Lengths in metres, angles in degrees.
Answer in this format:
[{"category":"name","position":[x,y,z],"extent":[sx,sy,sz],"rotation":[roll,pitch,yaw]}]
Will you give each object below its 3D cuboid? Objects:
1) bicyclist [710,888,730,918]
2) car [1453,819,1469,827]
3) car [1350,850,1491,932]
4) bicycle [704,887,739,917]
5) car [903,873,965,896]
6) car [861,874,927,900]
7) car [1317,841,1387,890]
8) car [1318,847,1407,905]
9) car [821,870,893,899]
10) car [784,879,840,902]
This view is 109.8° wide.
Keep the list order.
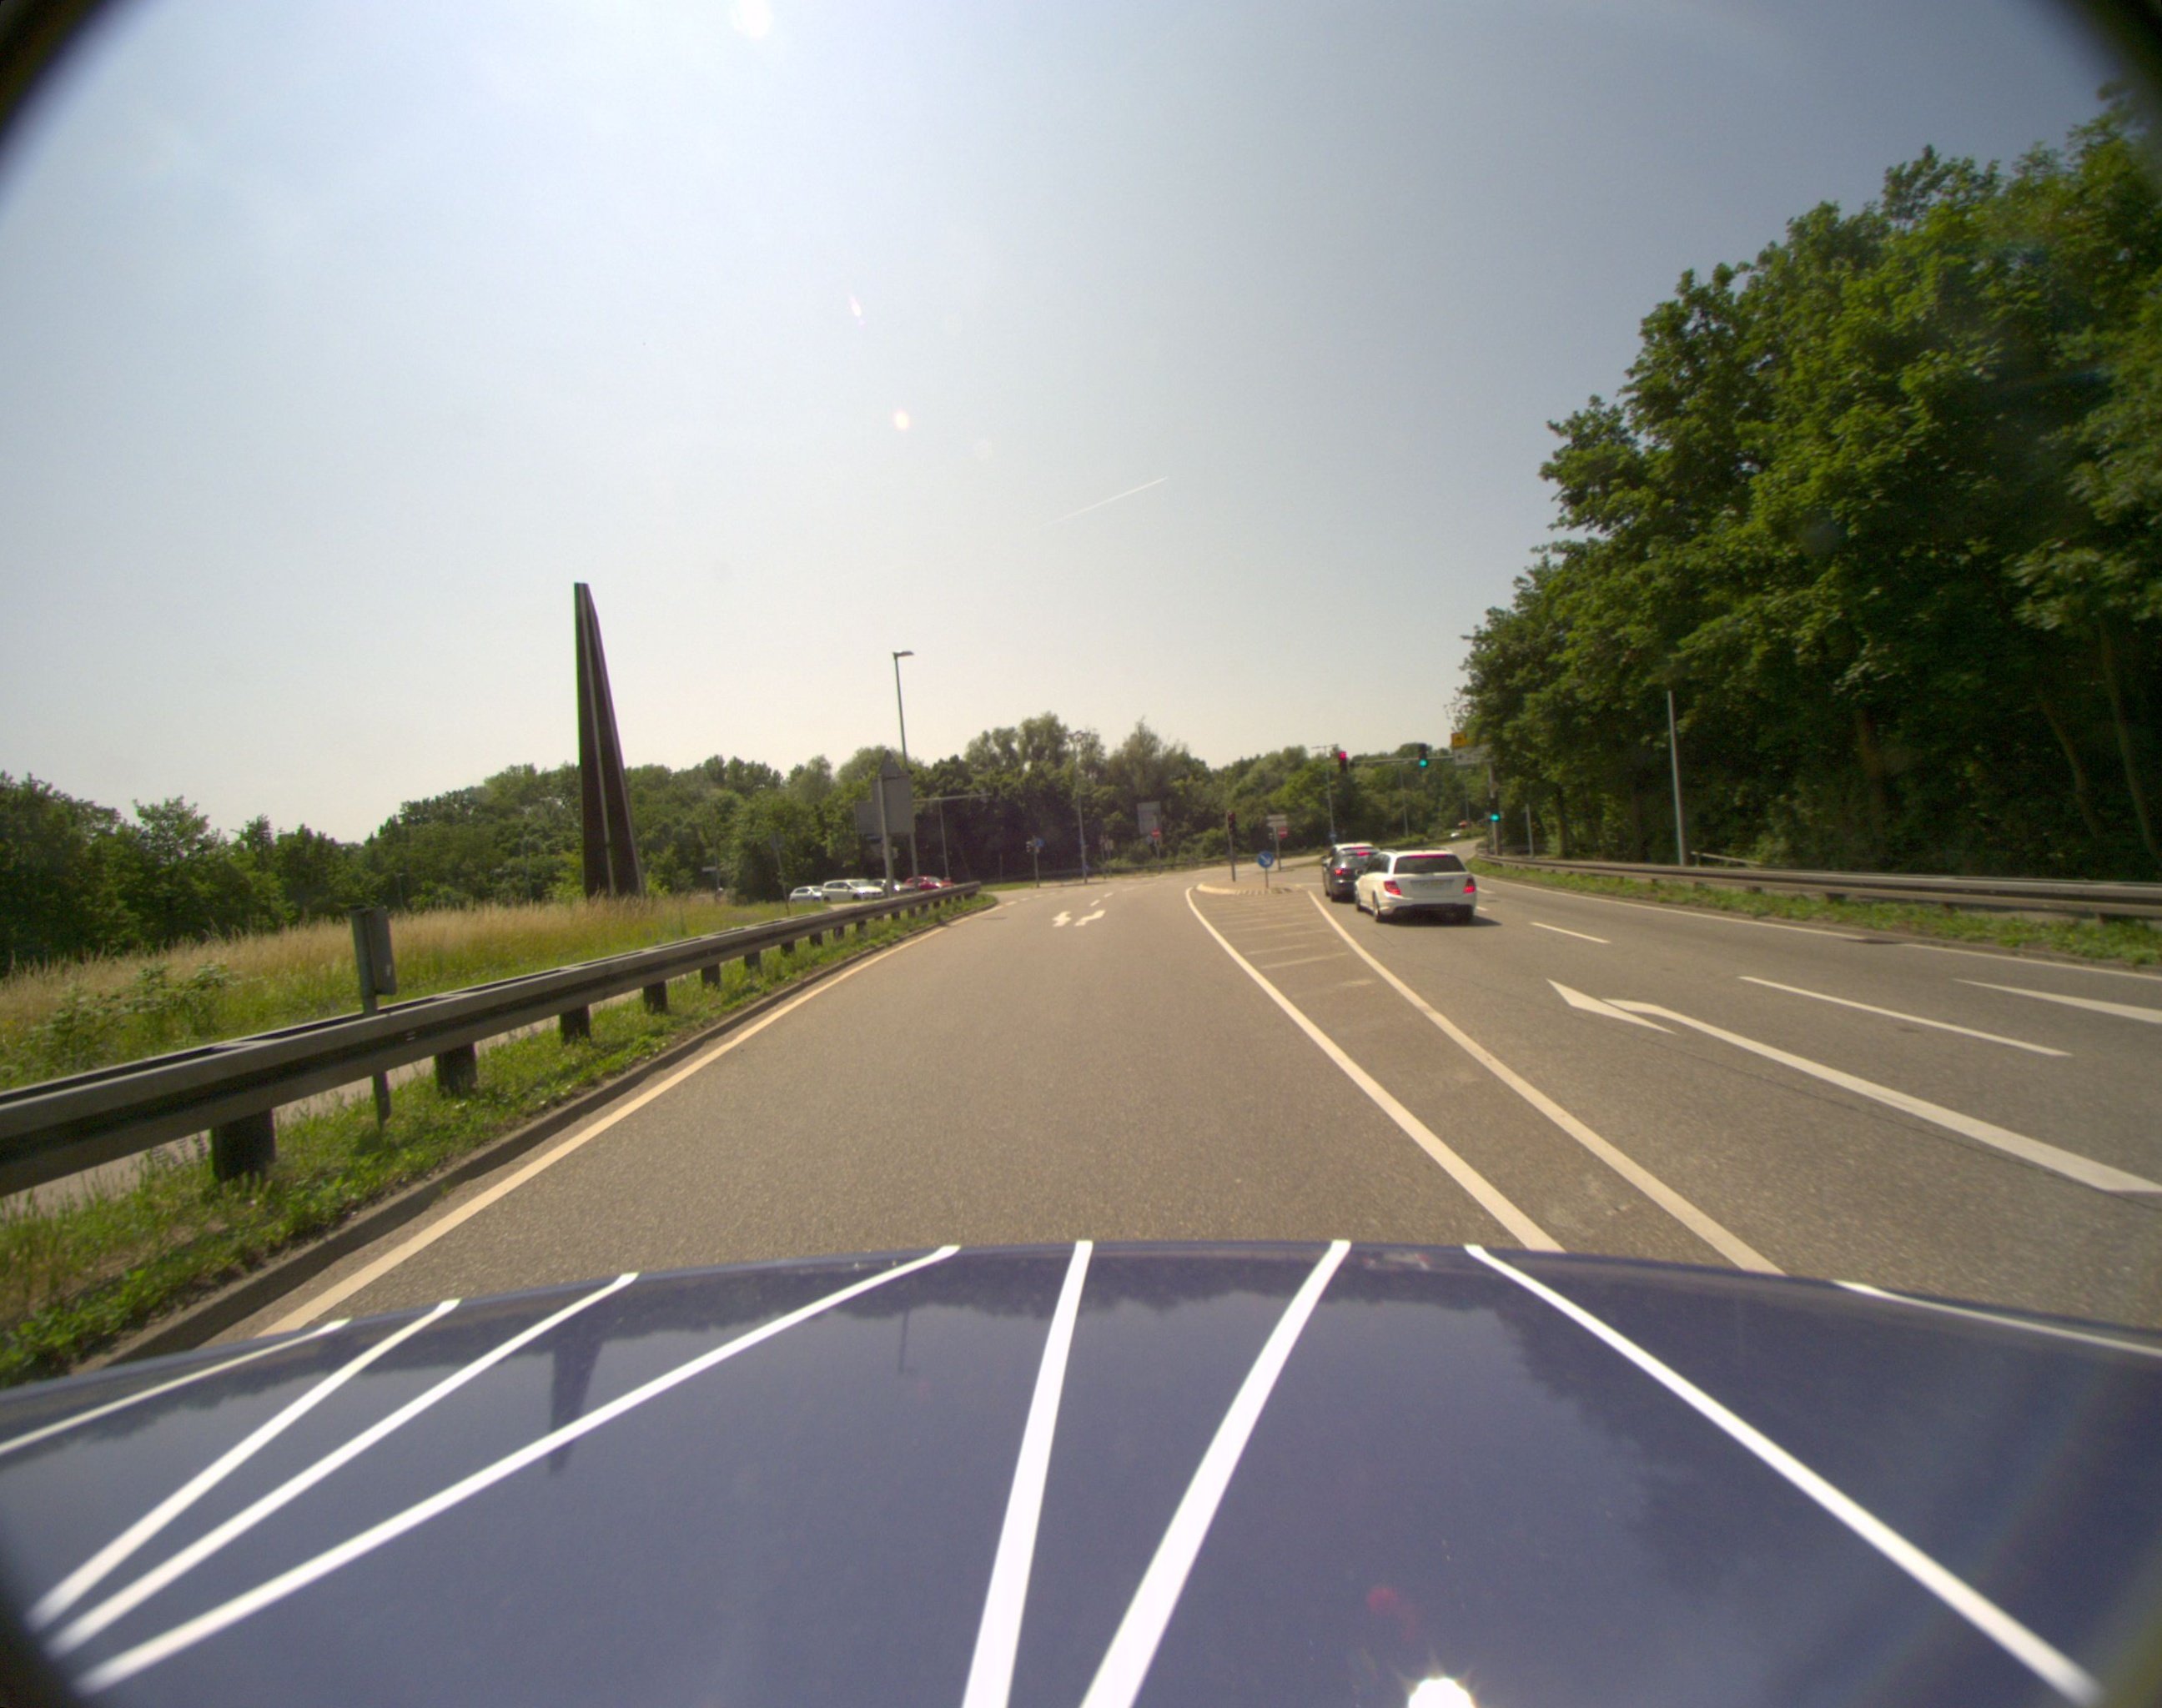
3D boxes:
[{"category":"bicyclist","position":[-20.112,2.727,42.336],"extent":[0.690,1.589,0.672],"rotation":[-4,0,39]},{"category":"car","position":[76.081,-6.154,152.085],"extent":[1.842,1.422,3.584],"rotation":[-4,0,42]},{"category":"car","position":[6.853,0.655,15.875],"extent":[1.830,1.398,4.892],"rotation":[-2,0,14]},{"category":"bicycle","position":[-20.007,2.683,42.238],"extent":[2.368,1.565,0.657],"rotation":[-4,0,38]},{"category":"car","position":[-10.311,2.151,53.197],"extent":[4.176,1.346,1.758],"rotation":[-4,0,34]},{"category":"car","position":[-12.464,2.186,50.594],"extent":[4.176,1.415,1.871],"rotation":[-4,0,34]},{"category":"car","position":[10.156,0.366,28.785],"extent":[1.831,1.629,4.582],"rotation":[-3,0,12]},{"category":"car","position":[8.002,0.561,21.972],"extent":[1.830,1.398,4.551],"rotation":[-3,0,14]},{"category":"car","position":[-13.853,1.908,46.974],"extent":[4.286,1.497,1.871],"rotation":[-4,0,34]},{"category":"car","position":[-19.335,2.624,54.526],"extent":[3.990,1.422,1.585],"rotation":[-4,0,34]}]
